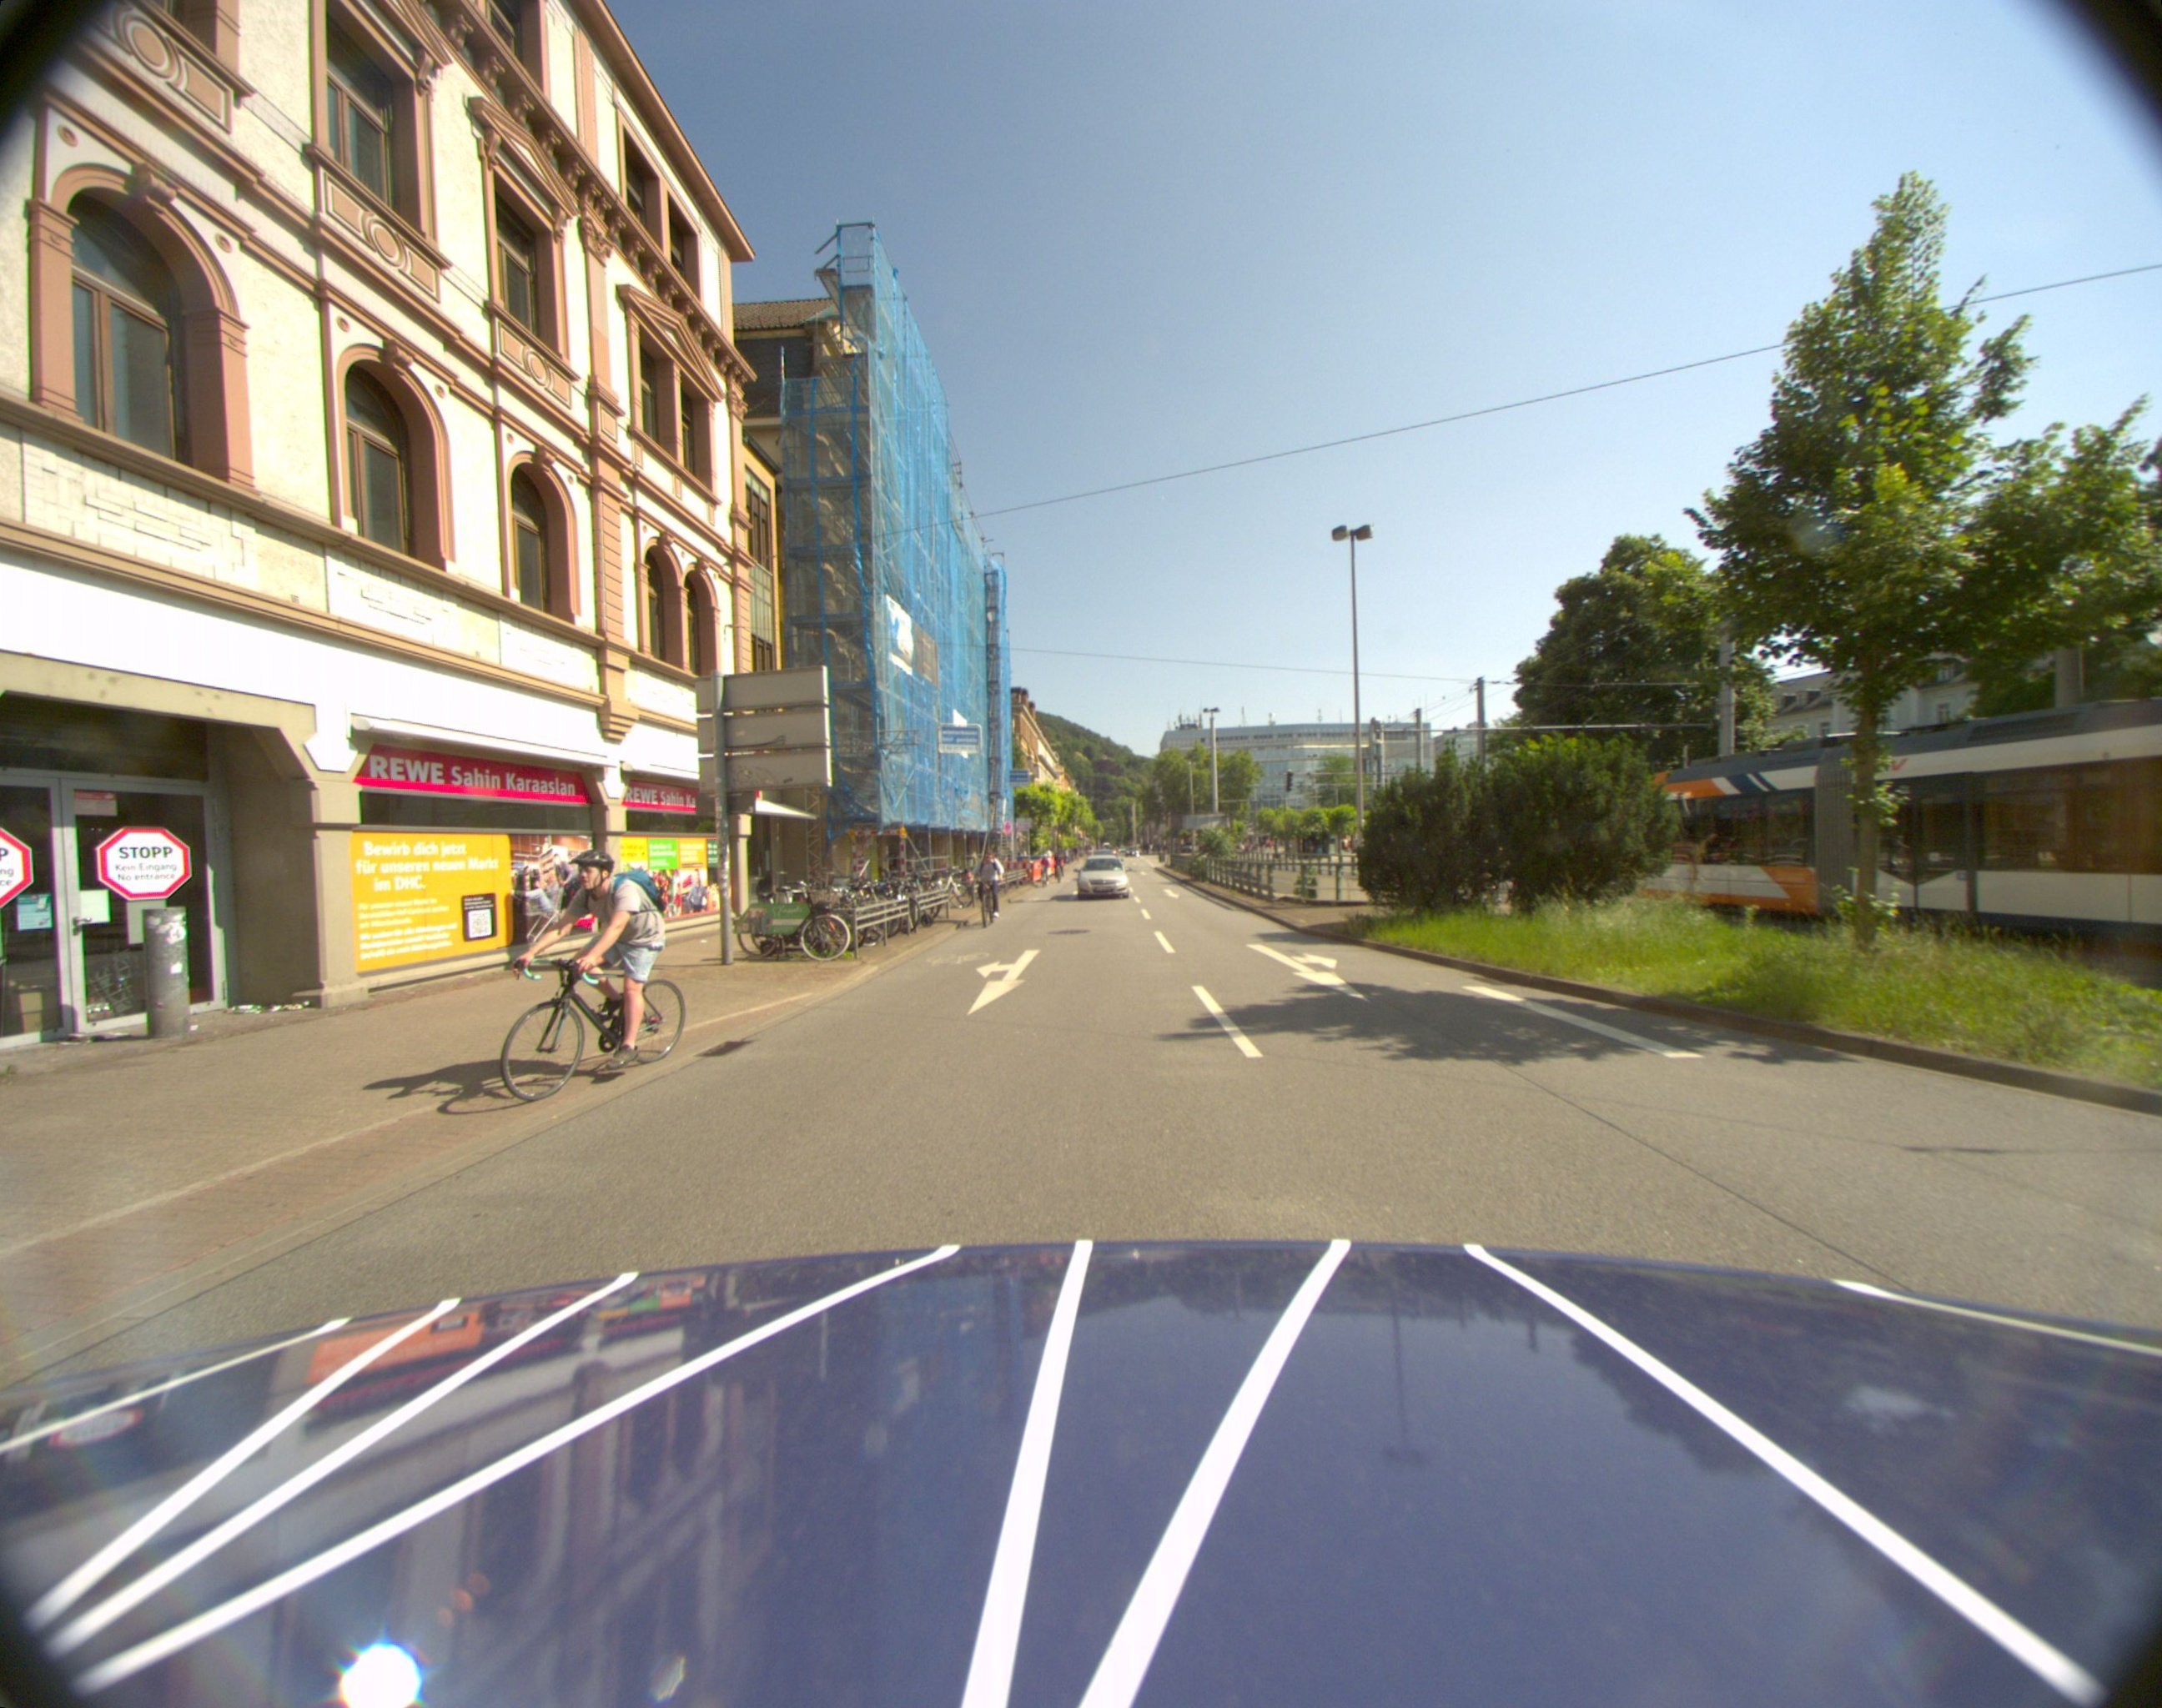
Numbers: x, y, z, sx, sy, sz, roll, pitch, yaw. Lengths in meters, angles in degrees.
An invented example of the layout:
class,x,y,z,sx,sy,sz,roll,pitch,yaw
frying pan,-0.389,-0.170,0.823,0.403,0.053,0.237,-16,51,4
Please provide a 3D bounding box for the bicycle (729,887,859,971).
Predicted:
class,x,y,z,sx,sy,sz,roll,pitch,yaw
bicycle,-4.302,1.118,11.454,1.697,1.172,0.608,-2,1,3

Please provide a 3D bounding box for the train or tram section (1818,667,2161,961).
class,x,y,z,sx,sy,sz,roll,pitch,yaw
train or tram section,14.428,-0.584,10.479,2.619,3.561,6.103,-4,1,2

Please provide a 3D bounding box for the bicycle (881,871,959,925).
class,x,y,z,sx,sy,sz,roll,pitch,yaw
bicycle,-3.851,1.051,18.242,1.697,1.172,0.497,-3,2,3

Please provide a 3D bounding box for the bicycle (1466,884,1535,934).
class,x,y,z,sx,sy,sz,roll,pitch,yaw
bicycle,10.883,1.406,19.792,0.819,1.114,1.874,1,2,3

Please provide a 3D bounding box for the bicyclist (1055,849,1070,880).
class,x,y,z,sx,sy,sz,roll,pitch,yaw
bicyclist,-0.977,0.549,39.872,0.690,1.568,0.778,-4,2,-1

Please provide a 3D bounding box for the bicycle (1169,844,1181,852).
class,x,y,z,sx,sy,sz,roll,pitch,yaw
bicycle,14.306,-0.941,116.085,1.757,1.141,0.483,-2,2,1

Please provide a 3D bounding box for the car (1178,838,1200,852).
class,x,y,z,sx,sy,sz,roll,pitch,yaw
car,17.212,-1.444,121.051,1.995,2.002,5.073,-3,2,24

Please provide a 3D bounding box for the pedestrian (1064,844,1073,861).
class,x,y,z,sx,sy,sz,roll,pitch,yaw
pedestrian,-1.191,-0.112,72.687,0.697,1.617,0.701,-1,2,-10

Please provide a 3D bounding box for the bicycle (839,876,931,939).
class,x,y,z,sx,sy,sz,roll,pitch,yaw
bicycle,-4.024,1.098,15.647,1.697,1.172,0.514,-3,2,3

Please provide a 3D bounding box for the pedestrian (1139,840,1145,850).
class,x,y,z,sx,sy,sz,roll,pitch,yaw
pedestrian,11.046,-1.582,137.559,0.876,1.737,0.733,-4,2,1

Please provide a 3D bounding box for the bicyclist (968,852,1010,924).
class,x,y,z,sx,sy,sz,roll,pitch,yaw
bicyclist,-2.113,0.768,17.492,0.750,1.568,0.778,-4,2,2

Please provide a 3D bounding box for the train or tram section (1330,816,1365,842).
class,x,y,z,sx,sy,sz,roll,pitch,yaw
train or tram section,44.074,-4.237,125.244,2.615,3.806,9.534,-3,2,36

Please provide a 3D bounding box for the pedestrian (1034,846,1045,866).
class,x,y,z,sx,sy,sz,roll,pitch,yaw
pedestrian,-3.903,0.157,71.007,0.816,1.838,0.892,0,2,10

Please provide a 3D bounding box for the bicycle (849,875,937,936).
class,x,y,z,sx,sy,sz,roll,pitch,yaw
bicycle,-3.993,1.086,16.177,1.697,1.172,0.457,-3,2,3

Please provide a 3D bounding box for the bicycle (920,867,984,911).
class,x,y,z,sx,sy,sz,roll,pitch,yaw
bicycle,-3.810,1.035,22.494,1.697,1.172,0.608,-3,2,3

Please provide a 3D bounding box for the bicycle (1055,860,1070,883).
class,x,y,z,sx,sy,sz,roll,pitch,yaw
bicycle,-0.953,0.885,39.784,0.667,1.087,1.897,-4,2,0

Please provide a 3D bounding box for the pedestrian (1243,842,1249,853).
class,x,y,z,sx,sy,sz,roll,pitch,yaw
pedestrian,22.179,-0.860,102.014,0.625,1.457,0.552,0,1,-20

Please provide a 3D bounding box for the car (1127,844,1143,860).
class,x,y,z,sx,sy,sz,roll,pitch,yaw
car,7.684,-0.337,108.234,1.998,2.002,3.999,-4,1,1

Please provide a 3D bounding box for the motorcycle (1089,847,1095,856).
class,x,y,z,sx,sy,sz,roll,pitch,yaw
motorcycle,1.501,-0.300,102.928,0.736,1.087,1.897,-4,2,3

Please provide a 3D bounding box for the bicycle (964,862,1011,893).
class,x,y,z,sx,sy,sz,roll,pitch,yaw
bicycle,-3.722,0.937,30.337,1.697,1.091,0.608,-3,2,3

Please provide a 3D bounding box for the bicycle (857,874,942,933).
class,x,y,z,sx,sy,sz,roll,pitch,yaw
bicycle,-3.977,1.081,16.685,1.697,1.172,0.463,-3,2,3

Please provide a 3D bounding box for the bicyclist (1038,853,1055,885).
class,x,y,z,sx,sy,sz,roll,pitch,yaw
bicyclist,-1.612,0.698,35.649,0.690,1.388,0.778,-4,2,1

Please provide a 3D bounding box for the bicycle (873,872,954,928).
class,x,y,z,sx,sy,sz,roll,pitch,yaw
bicycle,-3.895,1.060,17.705,1.697,1.172,0.490,-3,2,3

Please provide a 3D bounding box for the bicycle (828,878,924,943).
class,x,y,z,sx,sy,sz,roll,pitch,yaw
bicycle,-4.064,1.118,15.107,1.697,1.172,0.459,-3,2,3

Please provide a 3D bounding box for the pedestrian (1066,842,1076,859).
class,x,y,z,sx,sy,sz,roll,pitch,yaw
pedestrian,-1.141,-0.390,87.014,0.896,1.996,0.678,-2,1,-42

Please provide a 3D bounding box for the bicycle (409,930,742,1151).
class,x,y,z,sx,sy,sz,roll,pitch,yaw
bicycle,-3.626,1.273,5.774,0.735,1.087,2.132,-4,2,11

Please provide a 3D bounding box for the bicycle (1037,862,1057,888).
class,x,y,z,sx,sy,sz,roll,pitch,yaw
bicycle,-1.587,0.956,35.634,0.736,1.086,1.819,-3,1,1

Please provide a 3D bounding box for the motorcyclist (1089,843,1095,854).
class,x,y,z,sx,sy,sz,roll,pitch,yaw
motorcyclist,1.471,-0.747,102.985,0.736,1.446,0.707,-4,2,3

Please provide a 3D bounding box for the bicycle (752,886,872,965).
class,x,y,z,sx,sy,sz,roll,pitch,yaw
bicycle,-4.258,1.122,12.084,1.697,1.172,0.608,0,1,3

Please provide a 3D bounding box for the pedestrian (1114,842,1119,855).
class,x,y,z,sx,sy,sz,roll,pitch,yaw
pedestrian,4.726,-0.755,101.367,0.699,1.775,0.578,-1,2,-3

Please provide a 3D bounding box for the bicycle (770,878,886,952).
class,x,y,z,sx,sy,sz,roll,pitch,yaw
bicycle,-4.217,1.013,12.735,1.697,1.172,0.608,-1,1,3

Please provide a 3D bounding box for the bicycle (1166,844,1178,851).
class,x,y,z,sx,sy,sz,roll,pitch,yaw
bicycle,14.180,-1.011,118.900,1.757,1.141,0.483,-2,2,1

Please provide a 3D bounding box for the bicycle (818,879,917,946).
class,x,y,z,sx,sy,sz,roll,pitch,yaw
bicycle,-4.075,1.114,14.573,1.697,1.172,0.460,-3,2,3

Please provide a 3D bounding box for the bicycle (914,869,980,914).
class,x,y,z,sx,sy,sz,roll,pitch,yaw
bicycle,-3.823,1.058,21.735,1.697,1.172,0.608,-3,2,3

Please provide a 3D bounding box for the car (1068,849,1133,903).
class,x,y,z,sx,sy,sz,roll,pitch,yaw
car,0.729,0.672,25.866,1.917,1.401,4.000,-6,1,3

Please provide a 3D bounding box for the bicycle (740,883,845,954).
class,x,y,z,sx,sy,sz,roll,pitch,yaw
bicycle,-5.323,1.187,14.048,1.697,1.172,0.470,-3,2,3

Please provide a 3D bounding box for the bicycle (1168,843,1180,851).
class,x,y,z,sx,sy,sz,roll,pitch,yaw
bicycle,14.313,-1.092,116.576,1.757,1.141,0.483,-2,2,1

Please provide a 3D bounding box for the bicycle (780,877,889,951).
class,x,y,z,sx,sy,sz,roll,pitch,yaw
bicycle,-4.309,1.053,13.339,1.697,1.172,0.470,-3,2,3

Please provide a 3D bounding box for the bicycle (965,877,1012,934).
class,x,y,z,sx,sy,sz,roll,pitch,yaw
bicycle,-2.087,1.142,17.414,0.736,1.087,1.897,-4,2,1

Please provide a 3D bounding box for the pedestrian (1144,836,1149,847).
class,x,y,z,sx,sy,sz,roll,pitch,yaw
pedestrian,11.028,-2.040,128.017,0.537,1.773,0.744,-2,2,37

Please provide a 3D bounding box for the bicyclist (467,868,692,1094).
class,x,y,z,sx,sy,sz,roll,pitch,yaw
bicyclist,-3.669,0.880,5.678,0.689,1.455,1.143,-4,2,11

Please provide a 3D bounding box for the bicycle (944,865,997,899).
class,x,y,z,sx,sy,sz,roll,pitch,yaw
bicycle,-3.989,1.022,27.494,1.743,1.103,0.608,-3,2,3

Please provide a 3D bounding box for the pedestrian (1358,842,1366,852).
class,x,y,z,sx,sy,sz,roll,pitch,yaw
pedestrian,28.383,-0.748,76.748,0.635,0.995,0.580,1,1,5

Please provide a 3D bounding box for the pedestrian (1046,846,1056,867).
class,x,y,z,sx,sy,sz,roll,pitch,yaw
pedestrian,-2.475,0.181,62.106,0.658,1.674,0.652,-3,3,-12

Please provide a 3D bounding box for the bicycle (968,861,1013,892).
class,x,y,z,sx,sy,sz,roll,pitch,yaw
bicycle,-3.698,0.926,31.112,1.697,1.172,0.608,-3,2,3

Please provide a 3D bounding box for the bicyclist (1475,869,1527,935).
class,x,y,z,sx,sy,sz,roll,pitch,yaw
bicyclist,10.904,1.230,19.765,0.819,1.613,0.902,1,1,2

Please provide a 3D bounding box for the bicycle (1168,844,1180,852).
class,x,y,z,sx,sy,sz,roll,pitch,yaw
bicycle,14.353,-0.984,117.404,1.865,1.141,0.483,-2,2,1

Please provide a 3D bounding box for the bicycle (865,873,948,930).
class,x,y,z,sx,sy,sz,roll,pitch,yaw
bicycle,-3.941,1.063,17.187,1.697,1.172,0.451,-3,2,3

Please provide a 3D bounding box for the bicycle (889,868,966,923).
class,x,y,z,sx,sy,sz,roll,pitch,yaw
bicycle,-3.787,1.019,18.843,1.697,1.234,0.608,-3,2,3

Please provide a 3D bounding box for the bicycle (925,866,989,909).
class,x,y,z,sx,sy,sz,roll,pitch,yaw
bicycle,-3.775,1.027,23.285,1.775,1.172,0.608,-3,2,3

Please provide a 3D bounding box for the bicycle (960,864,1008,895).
class,x,y,z,sx,sy,sz,roll,pitch,yaw
bicycle,-3.762,0.979,29.622,1.697,1.091,0.608,-3,2,3

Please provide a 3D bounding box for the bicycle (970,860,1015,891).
class,x,y,z,sx,sy,sz,roll,pitch,yaw
bicycle,-3.695,0.908,31.796,1.697,1.172,0.608,-3,2,3

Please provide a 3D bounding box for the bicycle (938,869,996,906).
class,x,y,z,sx,sy,sz,roll,pitch,yaw
bicycle,-3.695,1.082,24.728,1.697,1.081,0.608,-3,2,3

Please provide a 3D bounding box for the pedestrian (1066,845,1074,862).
class,x,y,z,sx,sy,sz,roll,pitch,yaw
pedestrian,-1.060,-0.077,71.692,0.601,1.617,0.643,0,2,-10

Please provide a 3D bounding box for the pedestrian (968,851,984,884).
class,x,y,z,sx,sy,sz,roll,pitch,yaw
pedestrian,-5.280,0.674,38.367,0.645,1.592,0.765,-4,2,-4

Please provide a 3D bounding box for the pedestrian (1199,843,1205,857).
class,x,y,z,sx,sy,sz,roll,pitch,yaw
pedestrian,15.308,-0.546,96.029,0.527,1.724,0.586,0,1,-28

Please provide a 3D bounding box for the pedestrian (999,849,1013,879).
class,x,y,z,sx,sy,sz,roll,pitch,yaw
pedestrian,-4.585,0.588,46.523,0.641,1.766,0.649,-4,2,2

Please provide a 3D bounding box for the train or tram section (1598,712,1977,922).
class,x,y,z,sx,sy,sz,roll,pitch,yaw
train or tram section,14.644,-0.722,16.564,2.620,3.561,6.102,-4,2,2
